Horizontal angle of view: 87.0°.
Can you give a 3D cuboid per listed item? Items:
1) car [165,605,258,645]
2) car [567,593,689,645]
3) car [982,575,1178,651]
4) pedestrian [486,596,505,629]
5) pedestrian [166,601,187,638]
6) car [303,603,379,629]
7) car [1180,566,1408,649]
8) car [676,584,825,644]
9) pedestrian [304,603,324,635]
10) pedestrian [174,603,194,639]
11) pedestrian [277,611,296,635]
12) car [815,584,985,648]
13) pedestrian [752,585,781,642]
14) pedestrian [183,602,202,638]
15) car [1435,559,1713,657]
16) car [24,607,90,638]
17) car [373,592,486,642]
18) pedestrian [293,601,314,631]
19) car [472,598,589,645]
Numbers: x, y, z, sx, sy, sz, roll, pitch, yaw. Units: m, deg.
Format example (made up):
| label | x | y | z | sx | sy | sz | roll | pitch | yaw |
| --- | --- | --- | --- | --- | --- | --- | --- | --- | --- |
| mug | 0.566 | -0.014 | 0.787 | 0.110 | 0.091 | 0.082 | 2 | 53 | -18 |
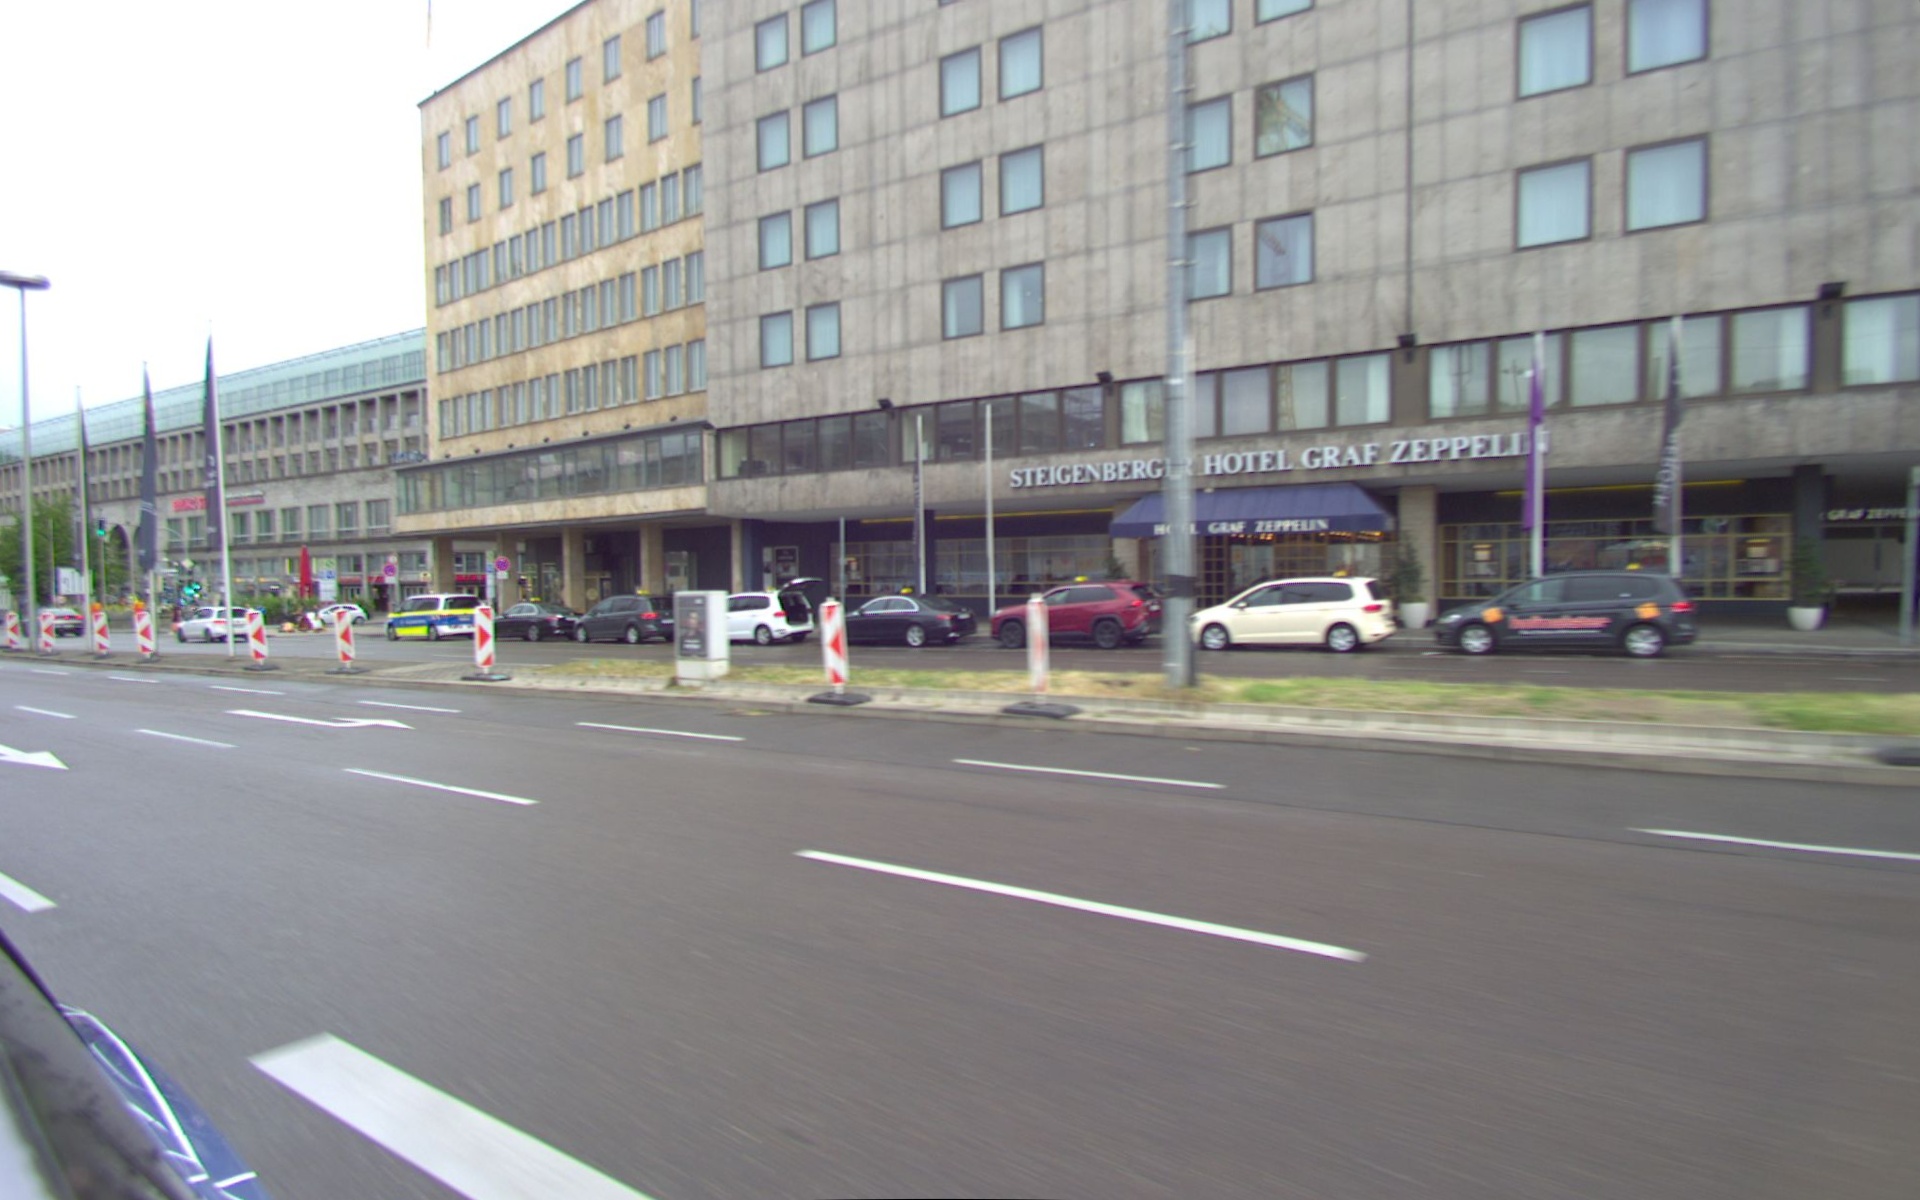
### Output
| label | x | y | z | sx | sy | sz | roll | pitch | yaw |
| --- | --- | --- | --- | --- | --- | --- | --- | --- | --- |
| car | -33.384 | 1.109 | 45.087 | 4.485 | 1.681 | 1.810 | -1 | 1 | 32 |
| car | -11.483 | 0.664 | 34.898 | 4.216 | 1.694 | 1.740 | -1 | 0 | 33 |
| car | 3.004 | 0.312 | 25.816 | 4.635 | 1.781 | 1.886 | -1 | 1 | 35 |
| pedestrian | -27.144 | 0.723 | 59.115 | 0.771 | 1.889 | 0.708 | -1 | 0 | 37 |
| pedestrian | -43.874 | 1.083 | 56.673 | 0.805 | 2.029 | 0.698 | -1 | 0 | 32 |
| car | -42.174 | 1.067 | 68.996 | 1.803 | 1.652 | 4.043 | -1 | 1 | 37 |
| car | 7.468 | 0.167 | 22.776 | 4.563 | 1.711 | 1.802 | -1 | 1 | 33 |
| car | -6.630 | 0.427 | 31.838 | 4.695 | 1.771 | 1.741 | -1 | 0 | 32 |
| pedestrian | -34.473 | 1.031 | 54.006 | 0.750 | 1.681 | 0.559 | -1 | 0 | 30 |
| pedestrian | -43.118 | 1.153 | 56.225 | 0.705 | 1.939 | 0.593 | -1 | 0 | -17 |
| pedestrian | -36.163 | 1.234 | 54.332 | 0.750 | 1.301 | 0.559 | -1 | 0 | 30 |
| car | -1.737 | 0.450 | 28.776 | 4.602 | 1.672 | 1.888 | -1 | 1 | 33 |
| pedestrian | -6.321 | 0.429 | 33.098 | 0.656 | 1.794 | 0.616 | 0 | 3 | 33 |
| pedestrian | -42.253 | 1.117 | 55.690 | 0.749 | 1.939 | 0.585 | -1 | 0 | 32 |
| car | 11.970 | 0.141 | 19.944 | 4.503 | 1.741 | 1.801 | -1 | 1 | 35 |
| car | -50.947 | 1.273 | 57.070 | 4.488 | 1.682 | 1.759 | -1 | 0 | 34 |
| car | -22.164 | 0.713 | 42.221 | 5.058 | 1.943 | 1.886 | -2 | -1 | 32 |
| pedestrian | -35.389 | 0.857 | 54.572 | 0.675 | 1.604 | 0.662 | -1 | 0 | 17 |
| car | -16.157 | 0.790 | 38.007 | 4.549 | 1.633 | 1.741 | -1 | 0 | 32 |
